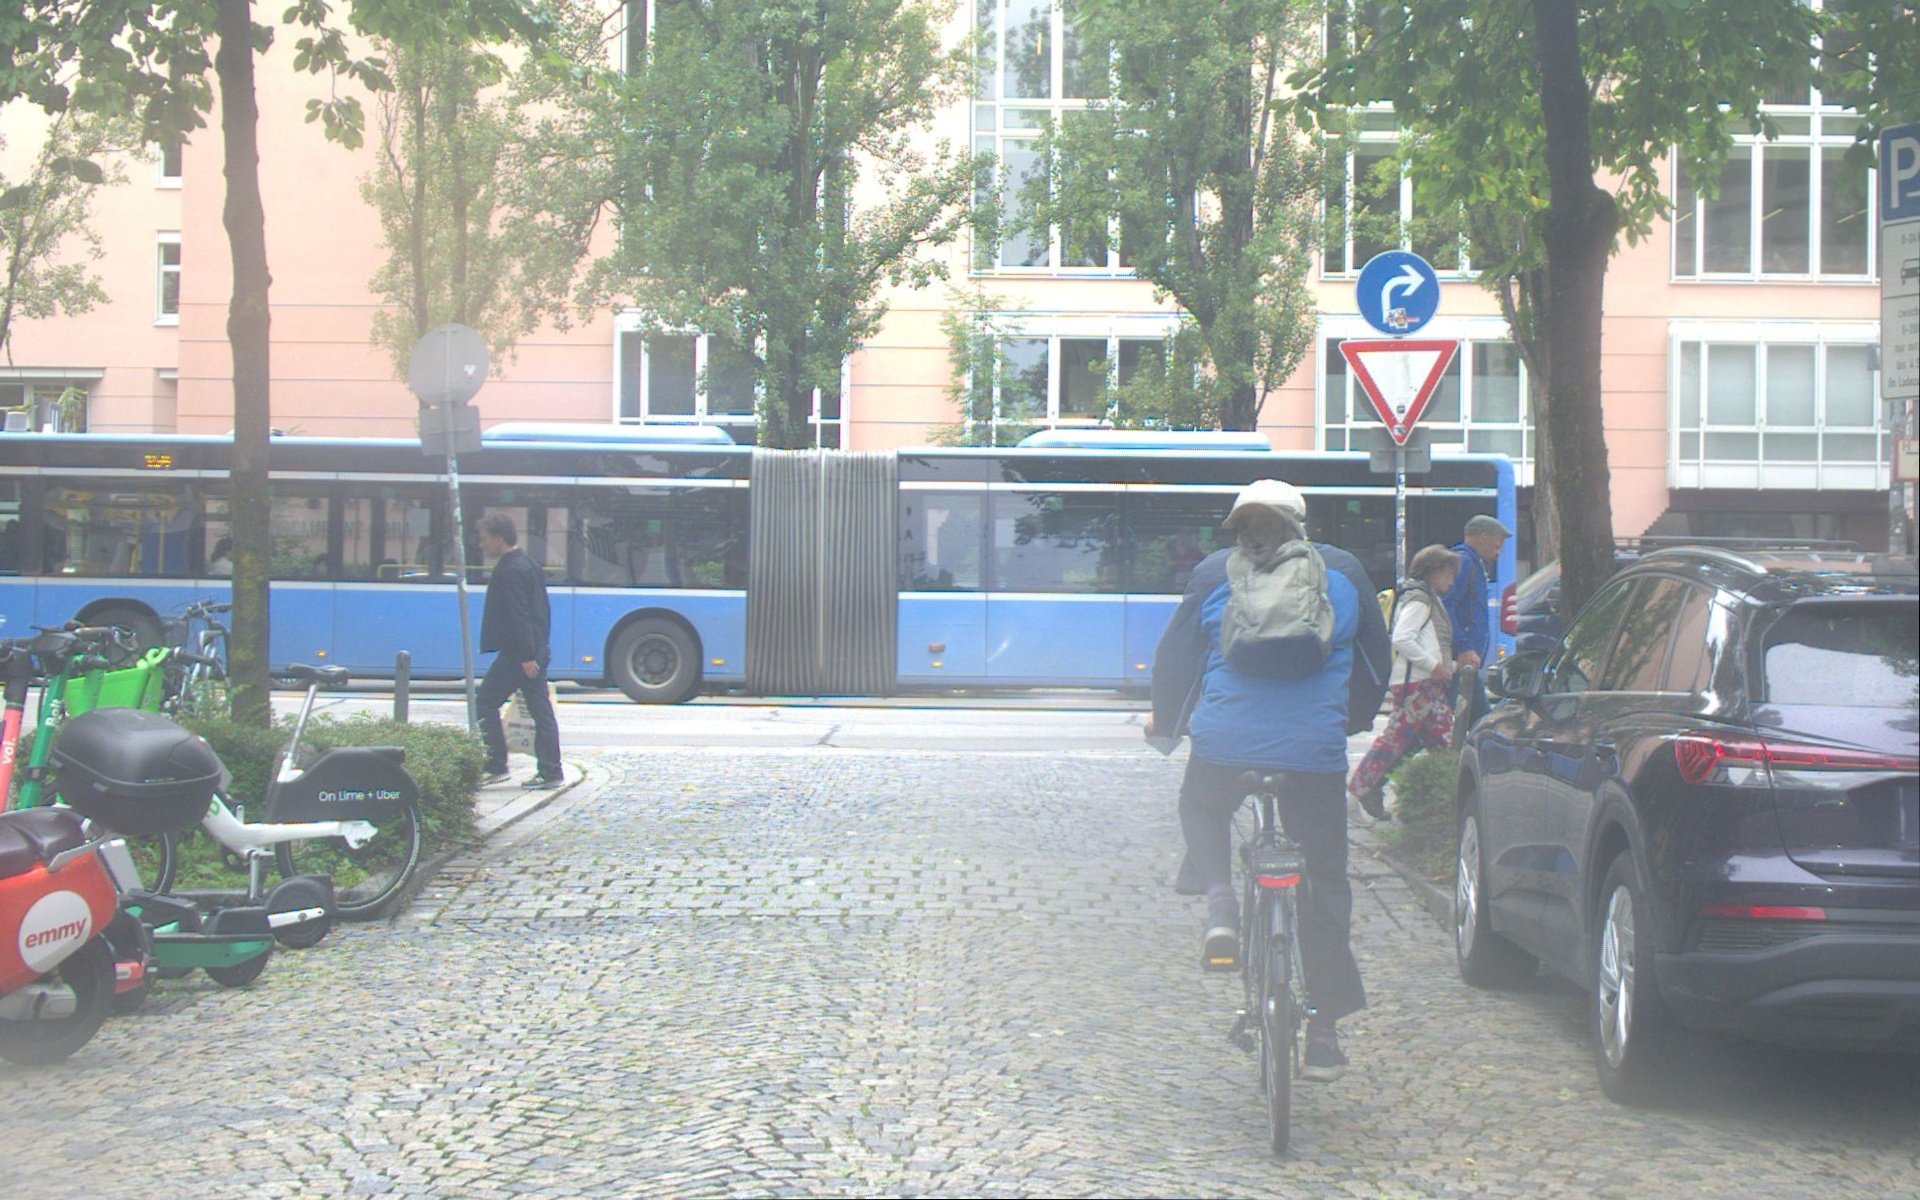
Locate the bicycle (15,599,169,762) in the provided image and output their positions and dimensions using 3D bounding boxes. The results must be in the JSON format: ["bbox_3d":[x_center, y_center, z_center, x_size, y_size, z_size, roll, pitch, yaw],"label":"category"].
[{"bbox_3d":[-6.108,0.547,24.272,0.490,1.089,1.703,1,1,6],"label":"bicycle"}]

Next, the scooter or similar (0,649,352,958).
[{"bbox_3d":[-3.091,0.766,13.201,1.425,1.140,0.369,1,1,-23],"label":"scooter or similar"}]

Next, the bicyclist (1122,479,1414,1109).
[{"bbox_3d":[0.812,0.495,9.250,0.722,1.614,0.757,1,1,3],"label":"bicyclist"}]

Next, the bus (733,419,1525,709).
[{"bbox_3d":[1.825,-0.405,38.462,8.489,3.041,2.927,1,1,1],"label":"bus"}]

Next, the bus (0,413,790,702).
[{"bbox_3d":[-6.856,-0.478,38.501,9.763,3.041,2.927,1,1,0],"label":"bus"}]

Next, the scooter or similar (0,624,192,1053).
[{"bbox_3d":[-2.913,0.726,11.087,0.326,1.268,1.357,1,1,11],"label":"scooter or similar"}]

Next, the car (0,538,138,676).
[{"bbox_3d":[-12.869,0.076,44.354,4.065,1.726,1.793,1,-1,0],"label":"car"}]

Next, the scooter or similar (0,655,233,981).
[{"bbox_3d":[-3.296,0.777,12.429,1.247,1.140,0.327,1,0,1],"label":"scooter or similar"}]

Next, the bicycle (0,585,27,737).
[{"bbox_3d":[-7.198,0.440,24.267,0.490,1.089,1.983,1,1,6],"label":"bicycle"}]

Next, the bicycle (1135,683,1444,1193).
[{"bbox_3d":[0.848,0.845,9.302,0.717,1.144,1.900,1,1,3],"label":"bicycle"}]

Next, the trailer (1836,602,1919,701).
[{"bbox_3d":[14.427,0.680,43.855,5.910,1.195,2.405,1,1,2],"label":"trailer"}]

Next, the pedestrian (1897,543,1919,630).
[{"bbox_3d":[15.270,-0.206,54.026,0.707,1.364,0.732,1,0,-28],"label":"pedestrian"}]

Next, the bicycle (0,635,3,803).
[{"bbox_3d":[-4.604,0.674,14.695,0.552,1.018,1.763,1,1,-1],"label":"bicycle"}]

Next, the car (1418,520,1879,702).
[{"bbox_3d":[8.752,0.123,44.063,5.479,2.189,2.024,1,1,1],"label":"car"}]

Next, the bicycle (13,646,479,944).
[{"bbox_3d":[-2.895,0.767,13.999,1.757,1.139,0.554,1,1,-30],"label":"bicycle"}]

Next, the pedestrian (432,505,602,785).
[{"bbox_3d":[-2.741,0.269,21.344,0.955,1.705,0.858,0,0,-1],"label":"pedestrian"}]

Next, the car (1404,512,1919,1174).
[{"bbox_3d":[2.726,0.622,11.000,1.920,1.694,4.202,2,1,-1],"label":"car"}]

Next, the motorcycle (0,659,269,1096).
[{"bbox_3d":[-3.045,0.784,9.796,1.985,1.192,0.771,0,1,-43],"label":"motorcycle"}]

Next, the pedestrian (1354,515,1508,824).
[{"bbox_3d":[2.647,0.378,19.287,0.804,1.690,0.664,1,0,10],"label":"pedestrian"}]

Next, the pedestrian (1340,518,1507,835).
[{"bbox_3d":[2.518,0.400,18.642,0.843,1.674,0.610,1,0,10],"label":"pedestrian"}]

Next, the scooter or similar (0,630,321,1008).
[{"bbox_3d":[-2.892,0.746,11.988,1.247,1.268,0.327,1,1,-30],"label":"scooter or similar"}]

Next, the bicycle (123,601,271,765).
[{"bbox_3d":[-5.328,0.560,24.096,0.490,1.089,1.703,1,1,6],"label":"bicycle"}]
